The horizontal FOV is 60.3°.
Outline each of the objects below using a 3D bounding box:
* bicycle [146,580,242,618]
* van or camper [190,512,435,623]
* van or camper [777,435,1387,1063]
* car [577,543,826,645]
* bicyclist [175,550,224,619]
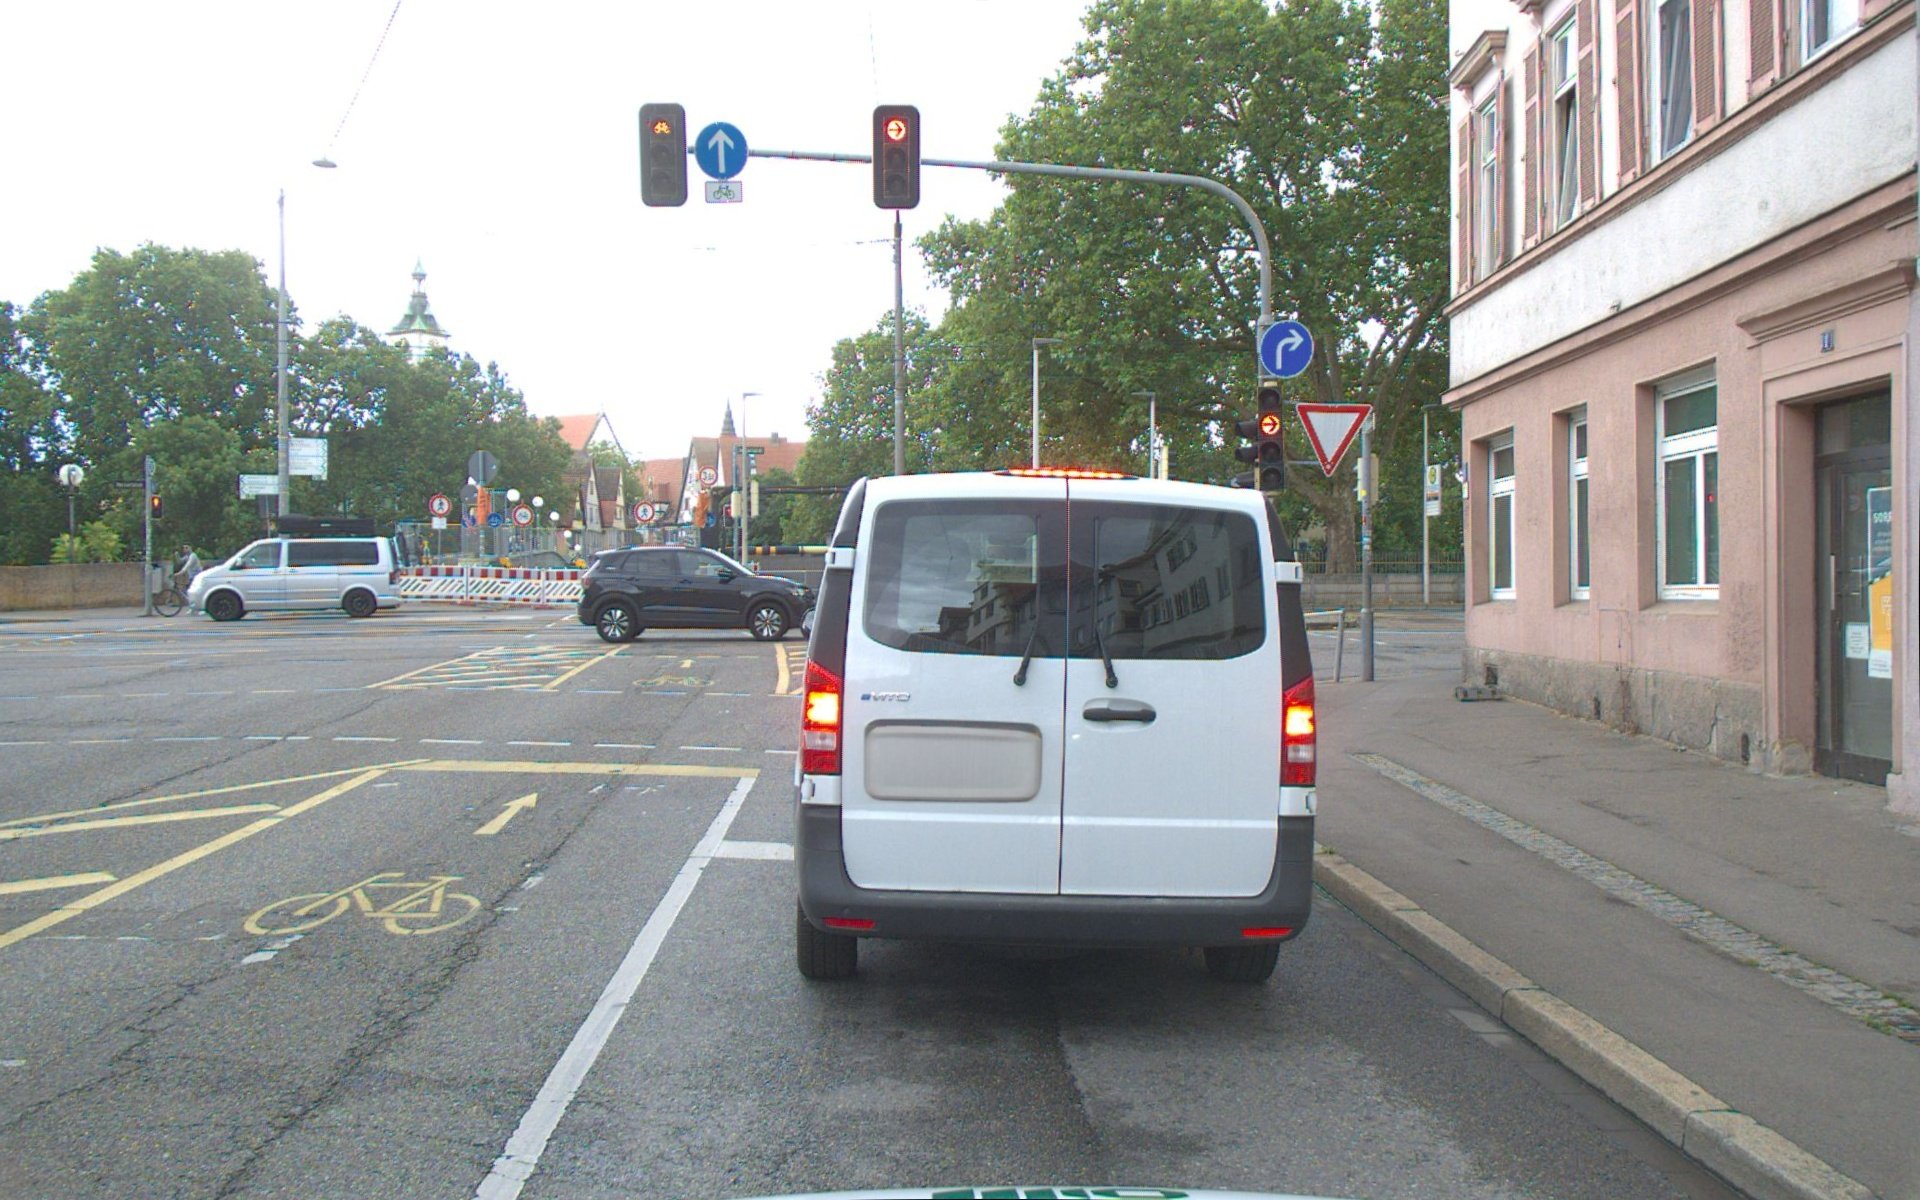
[{"bbox_3d":[-19.721,-0.031,42.591,2.120,0.907,0.749,-1,2,-42],"label":"bicycle"},{"bbox_3d":[-15.492,-0.776,39.917,5.306,2.557,2.027,-1,-1,-17],"label":"van or camper"},{"bbox_3d":[0.249,0.403,7.423,1.899,1.958,4.438,1,2,-4],"label":"van or camper"},{"bbox_3d":[-4.309,-0.141,28.102,3.990,1.600,1.827,-1,2,-4],"label":"car"},{"bbox_3d":[-19.618,-0.407,42.678,0.996,1.774,0.743,-1,1,-42],"label":"bicyclist"}]
